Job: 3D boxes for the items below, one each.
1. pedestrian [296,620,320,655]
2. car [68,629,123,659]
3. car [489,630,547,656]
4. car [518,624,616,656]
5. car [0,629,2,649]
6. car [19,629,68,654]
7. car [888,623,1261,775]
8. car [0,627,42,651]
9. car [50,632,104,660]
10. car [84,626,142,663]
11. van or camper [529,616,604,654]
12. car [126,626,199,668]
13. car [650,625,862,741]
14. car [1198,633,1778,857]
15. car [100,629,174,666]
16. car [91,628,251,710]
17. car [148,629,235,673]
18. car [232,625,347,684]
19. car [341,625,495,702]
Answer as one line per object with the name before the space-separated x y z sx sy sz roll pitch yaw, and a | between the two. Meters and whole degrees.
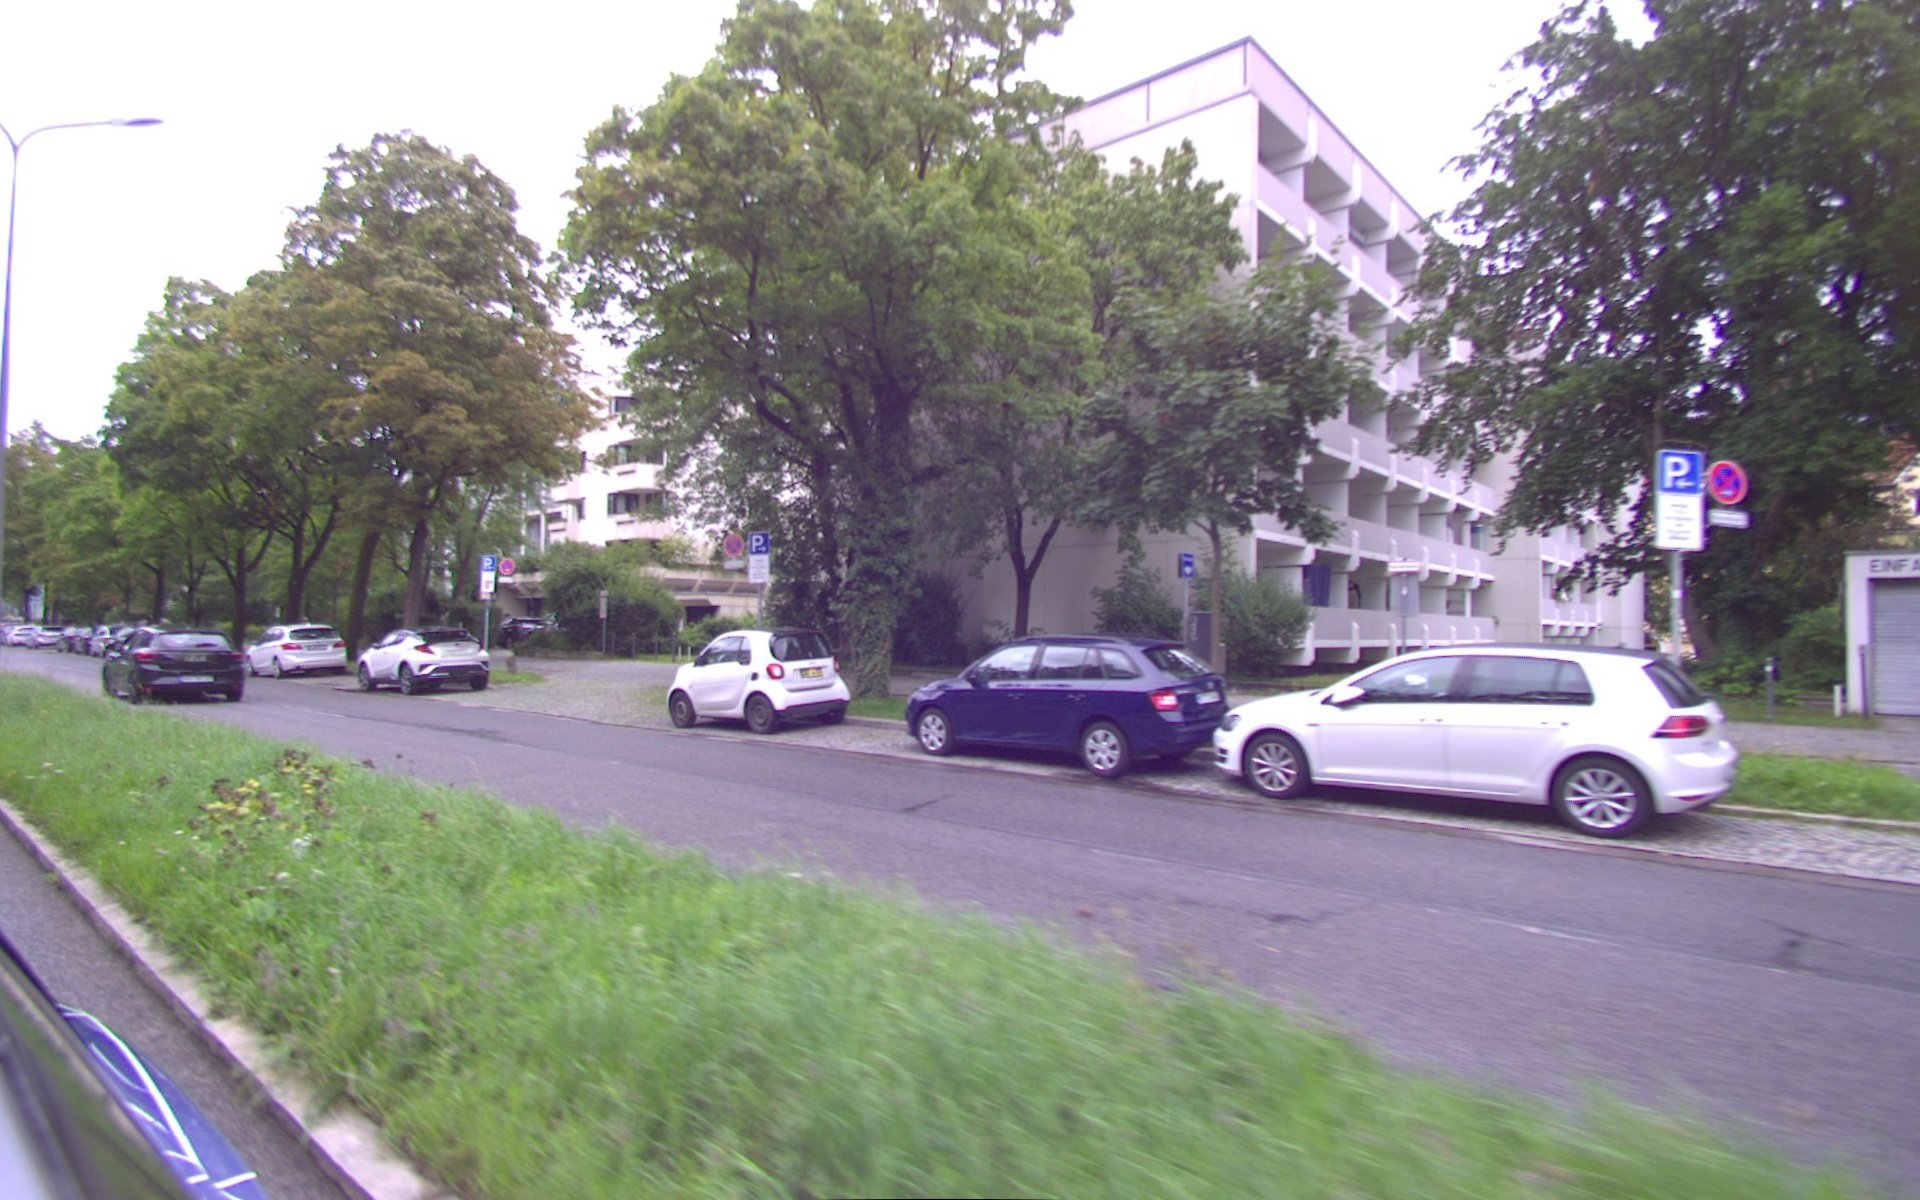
pedestrian | -30.928 1.784 47.999 0.838 1.669 0.609 2 -3 -44
car | -44.557 2.250 52.153 4.191 1.434 1.608 -2 0 42
car | -21.807 2.095 49.914 3.125 1.209 1.440 -2 -2 42
car | -18.560 1.863 47.929 1.861 1.429 3.937 -2 -2 39
car | -81.889 3.282 85.152 3.818 1.626 1.629 -2 -1 43
car | -58.557 2.615 64.625 4.819 1.459 1.719 -1 0 41
car | 1.215 1.028 11.971 4.213 1.486 1.657 -1 -2 41
car | -65.902 2.724 70.983 4.473 1.541 1.721 -2 -1 41
car | -48.518 2.508 55.585 4.359 1.434 1.564 -2 0 40
car | -41.146 2.142 49.147 3.866 1.660 1.608 -2 0 42
van or camper | -20.386 1.783 52.338 4.429 1.885 1.837 -2 -2 42
car | -33.140 1.912 42.015 4.209 1.609 1.668 -2 0 42
car | -3.253 1.225 15.967 3.076 1.577 1.674 -1 0 39
car | 4.495 1.070 9.060 4.318 1.454 1.657 -2 0 42
car | -37.020 2.092 45.489 5.031 1.536 1.698 -2 0 41
car | -15.671 1.296 20.036 4.213 1.451 1.720 -2 -3 41
car | -29.575 1.901 38.874 4.946 1.525 1.742 -2 0 42
car | -20.520 1.617 30.900 4.486 1.607 1.739 -2 0 40
car | -13.066 1.458 24.285 4.490 1.621 1.813 -2 0 42
